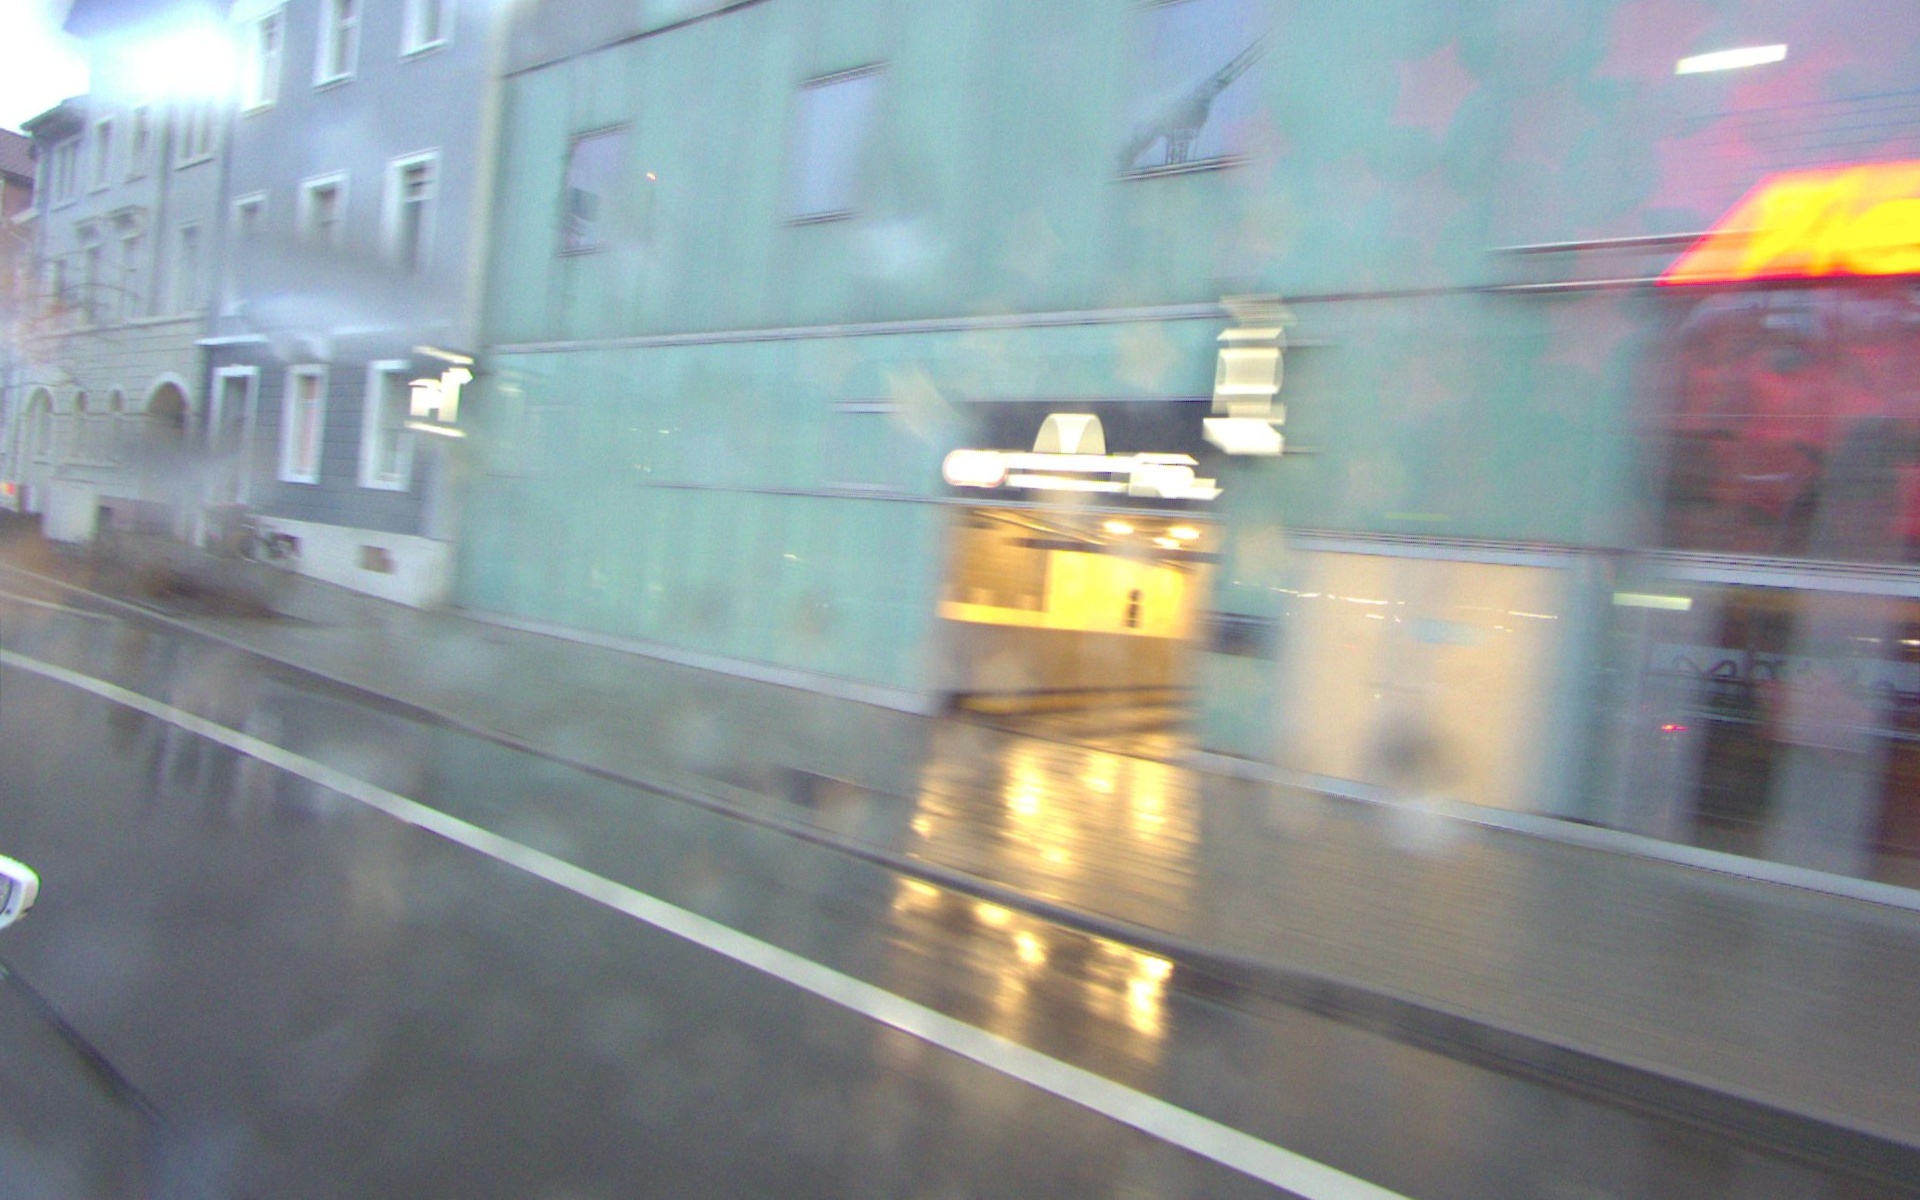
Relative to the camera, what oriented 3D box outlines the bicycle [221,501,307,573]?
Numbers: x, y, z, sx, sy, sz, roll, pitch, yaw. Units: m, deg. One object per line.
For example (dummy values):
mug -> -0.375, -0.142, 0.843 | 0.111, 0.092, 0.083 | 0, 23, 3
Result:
bicycle -> -13.797, -1.254, 19.920 | 1.874, 1.239, 0.682 | 7, 4, 32
